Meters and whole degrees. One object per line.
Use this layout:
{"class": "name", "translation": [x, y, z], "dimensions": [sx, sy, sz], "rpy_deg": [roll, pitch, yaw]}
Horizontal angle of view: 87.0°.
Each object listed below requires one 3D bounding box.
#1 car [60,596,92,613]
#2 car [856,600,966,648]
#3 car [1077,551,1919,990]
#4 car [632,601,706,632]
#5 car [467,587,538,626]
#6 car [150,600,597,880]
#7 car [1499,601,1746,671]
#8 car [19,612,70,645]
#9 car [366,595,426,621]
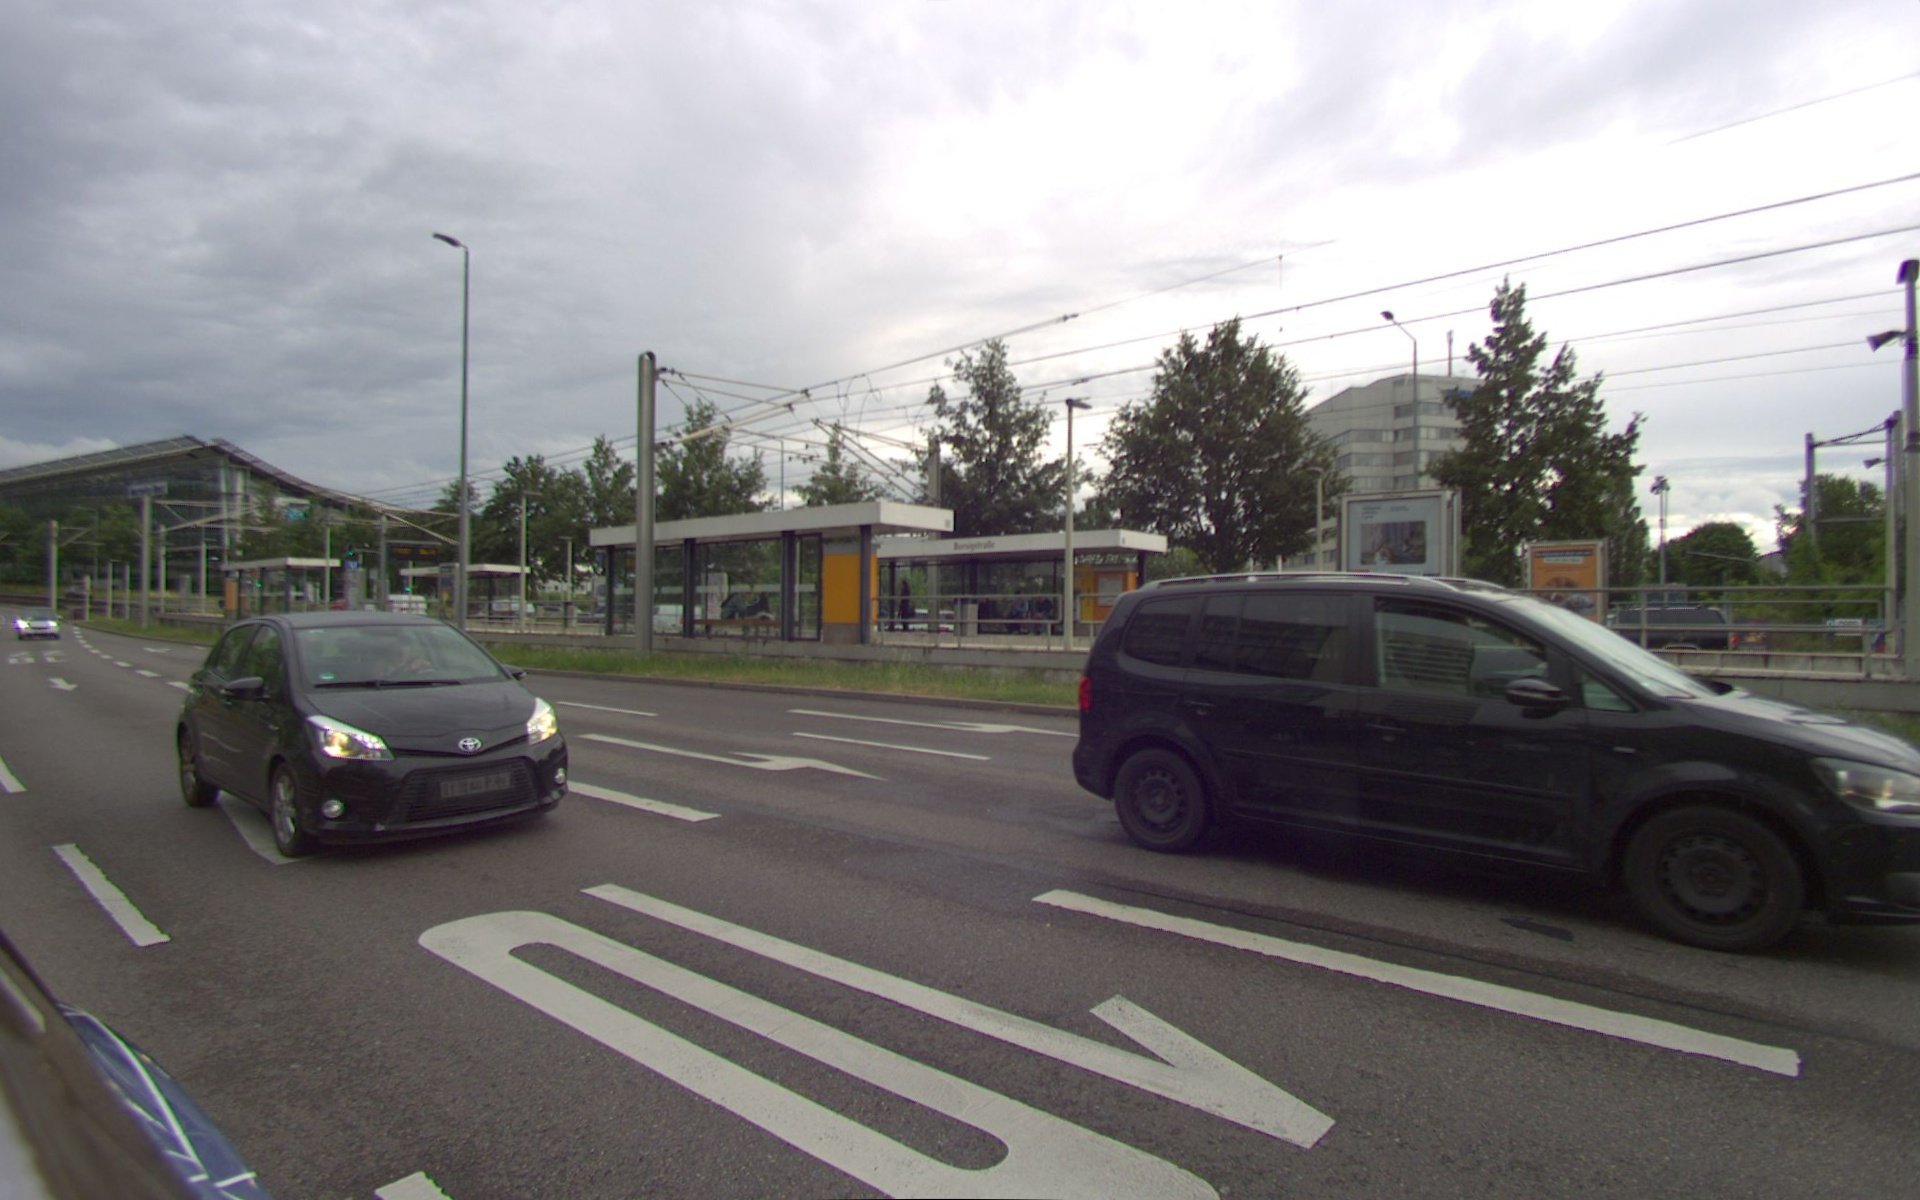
{"class": "car", "translation": [-97.025, 0.485, 111.069], "dimensions": [3.995, 1.861, 1.975], "rpy_deg": [0, 1, 38]}
{"class": "car", "translation": [-1.874, 0.846, 38.064], "dimensions": [4.266, 1.679, 1.512], "rpy_deg": [0, 1, 41]}
{"class": "car", "translation": [2.844, 0.615, 5.436], "dimensions": [4.192, 1.604, 1.708], "rpy_deg": [-1, 1, 42]}
{"class": "car", "translation": [-17.421, 0.940, 60.480], "dimensions": [4.664, 1.712, 2.083], "rpy_deg": [0, 1, 41]}
{"class": "car", "translation": [-27.589, 0.347, 60.961], "dimensions": [5.142, 2.231, 1.972], "rpy_deg": [0, 1, 42]}
{"class": "car", "translation": [-4.475, 0.828, 7.478], "dimensions": [3.902, 1.534, 1.675], "rpy_deg": [-2, -2, 41]}
{"class": "car", "translation": [16.265, 0.802, 25.025], "dimensions": [4.930, 1.509, 1.660], "rpy_deg": [0, 2, 42]}
{"class": "car", "translation": [-44.508, 1.355, 49.183], "dimensions": [1.715, 1.489, 4.003], "rpy_deg": [-1, 0, -44]}
{"class": "car", "translation": [-39.334, 0.515, 70.511], "dimensions": [5.026, 1.744, 1.974], "rpy_deg": [0, 1, 40]}
